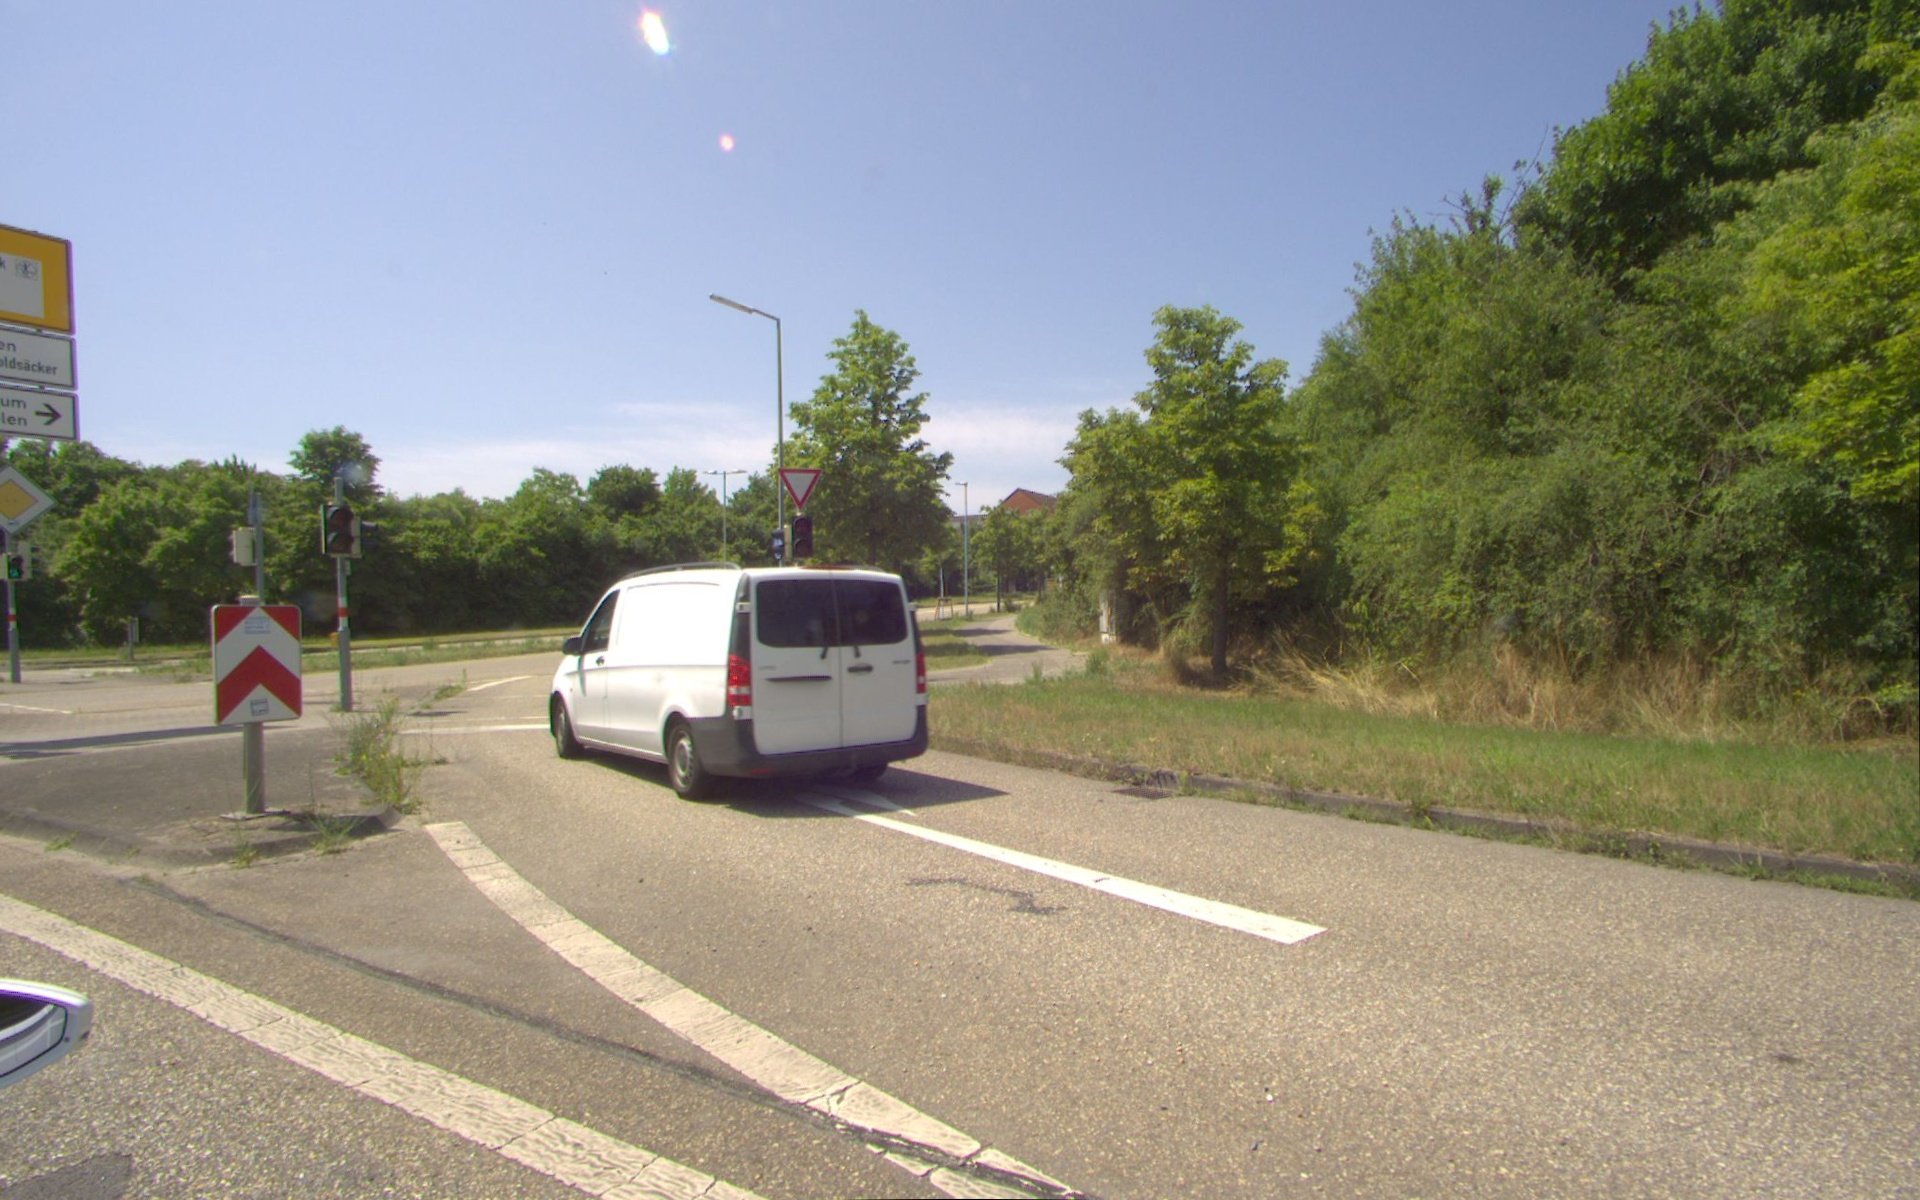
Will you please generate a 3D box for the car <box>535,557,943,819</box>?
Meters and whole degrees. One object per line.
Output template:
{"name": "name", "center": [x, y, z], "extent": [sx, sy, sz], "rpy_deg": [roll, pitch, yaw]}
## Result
{"name": "car", "center": [-2.366, 0.647, 9.514], "extent": [1.845, 1.842, 4.869], "rpy_deg": [0, 0, -39]}
